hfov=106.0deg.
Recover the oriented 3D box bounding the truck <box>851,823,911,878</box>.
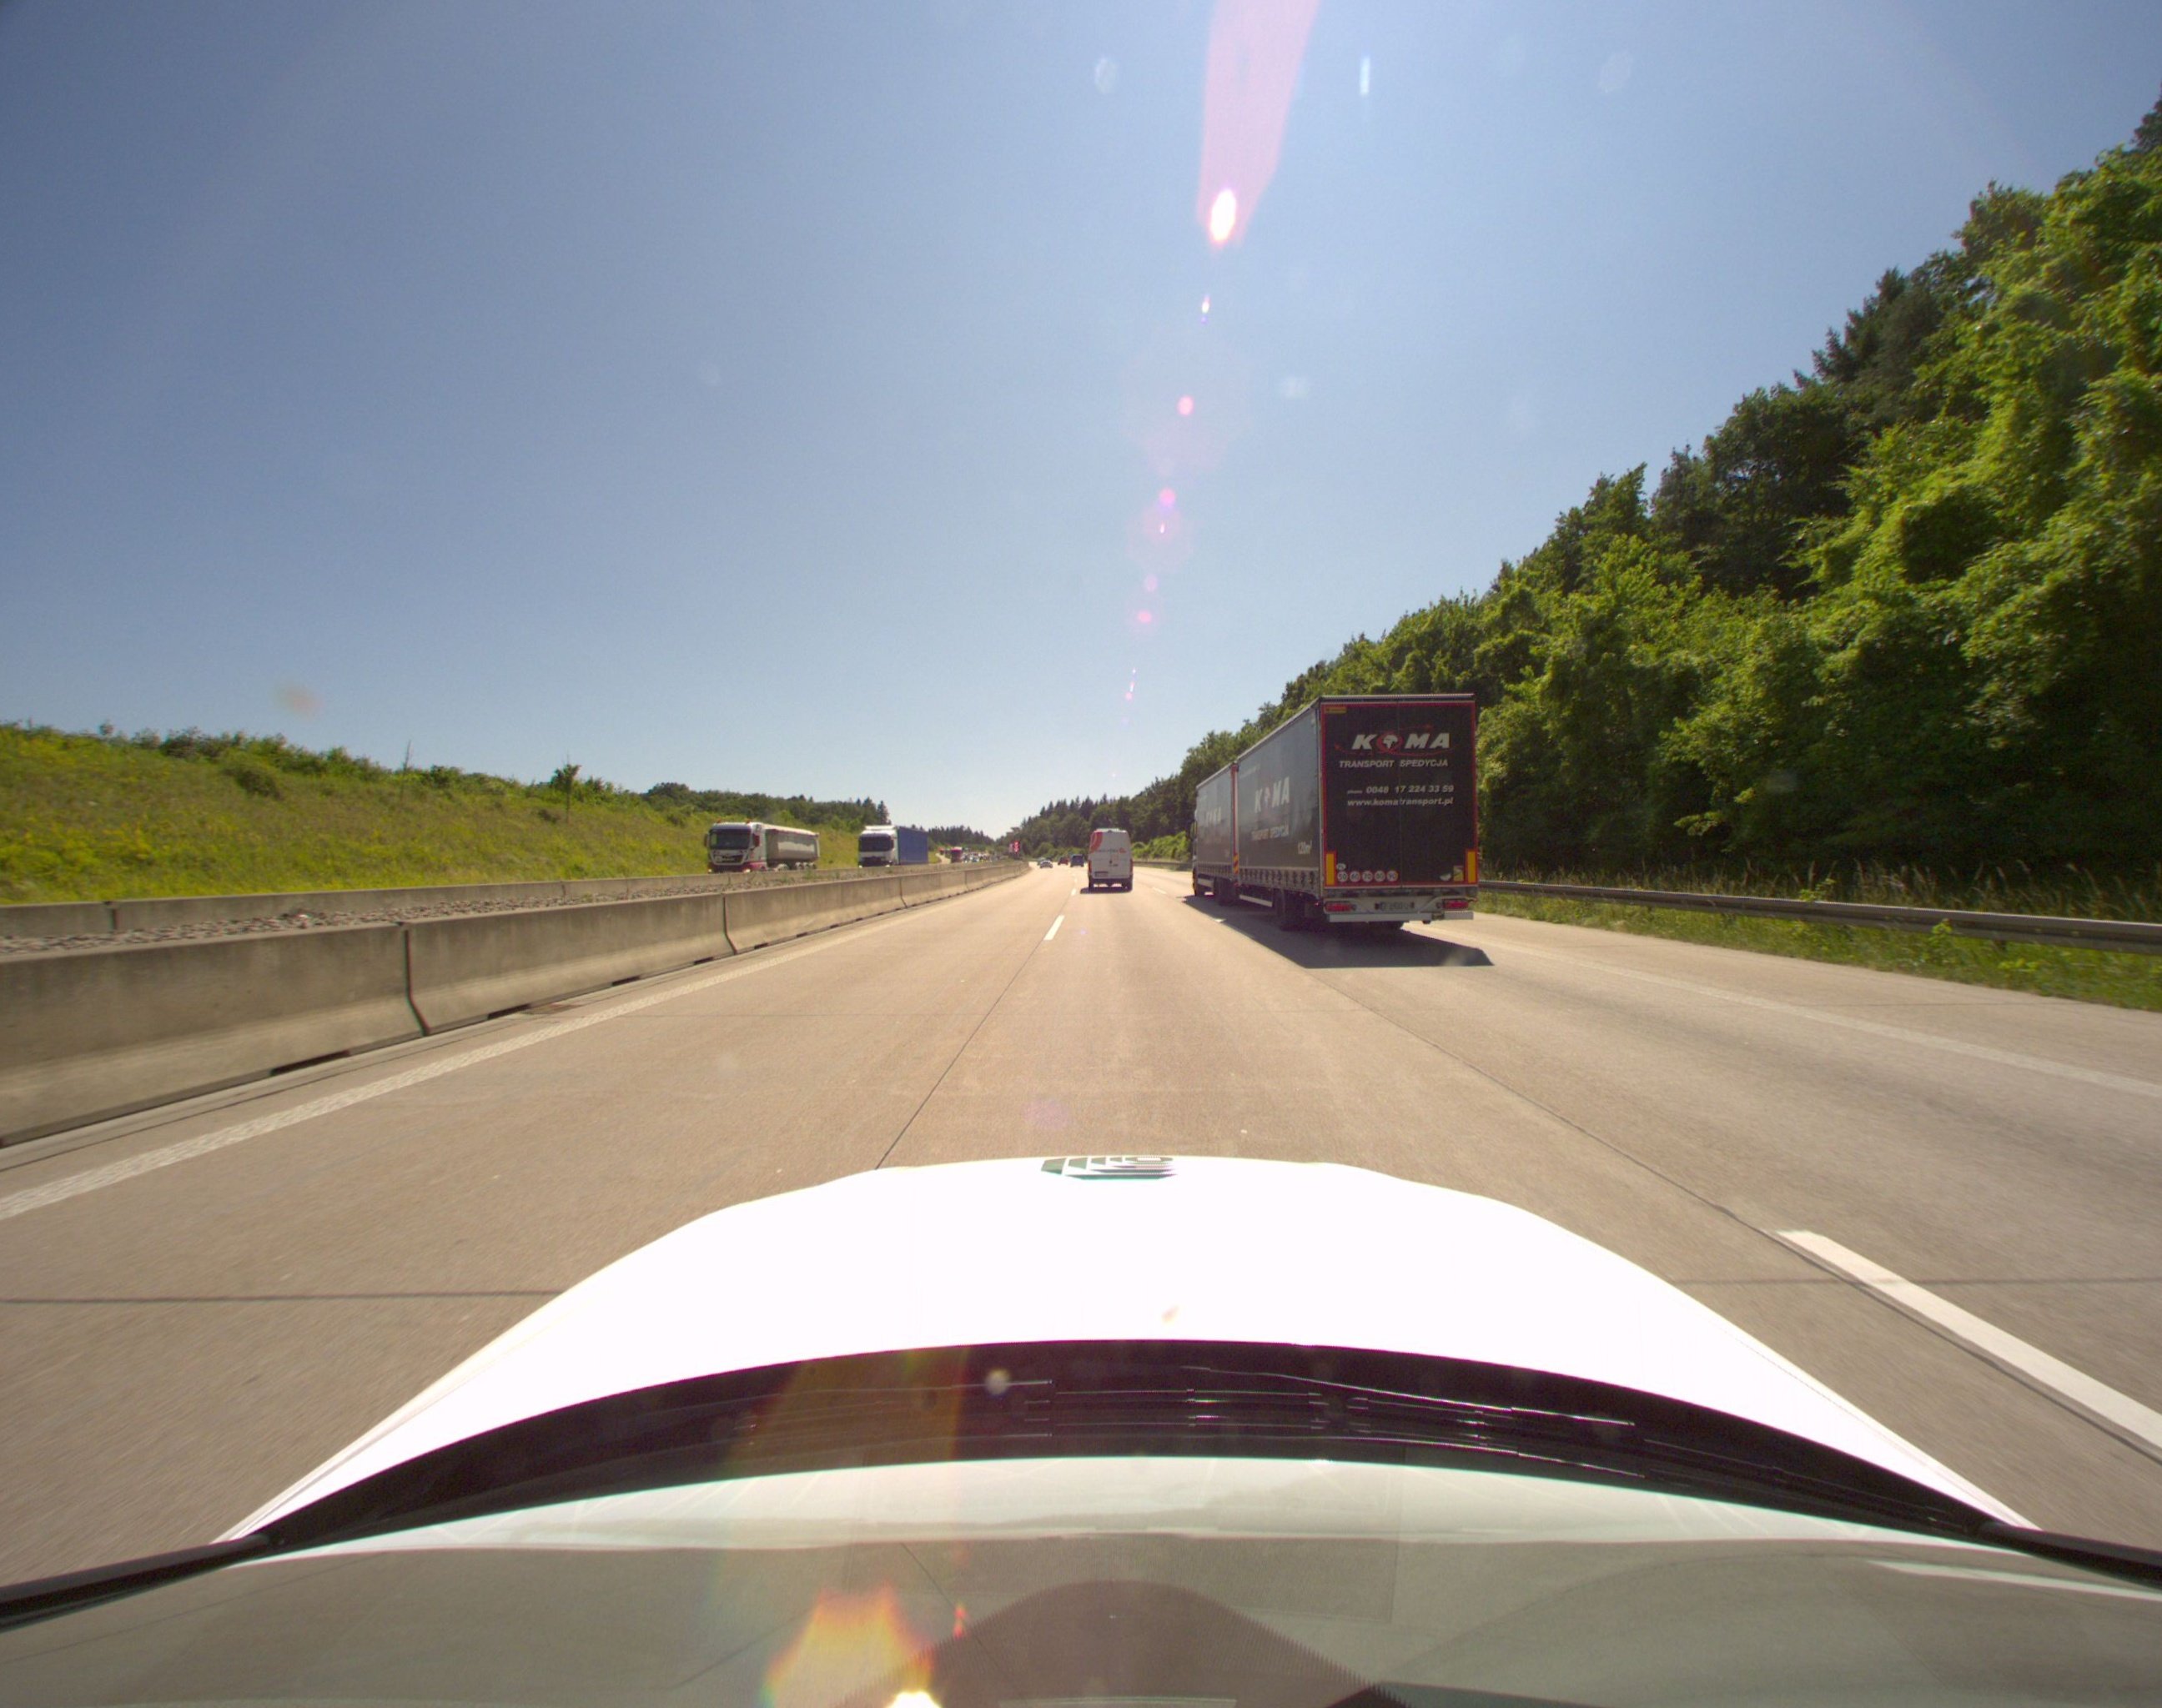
[{"bbox_3d":[-15.026,-0.208,61.617,3.153,3.932,5.832,2,-1,-2],"label":"truck"}]

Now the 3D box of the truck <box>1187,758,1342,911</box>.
[{"bbox_3d":[5.526,-0.474,26.832,3.147,4.017,10.614,0,0,3],"label":"truck"}]

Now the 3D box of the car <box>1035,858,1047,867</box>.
[{"bbox_3d":[-7.848,1.701,159.151,1.991,1.684,3.991,2,-1,-7],"label":"car"}]

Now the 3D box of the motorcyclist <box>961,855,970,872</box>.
[{"bbox_3d":[-12.875,1.014,90.691,0.816,1.873,1.491,0,-1,0],"label":"motorcyclist"}]

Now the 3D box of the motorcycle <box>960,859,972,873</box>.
[{"bbox_3d":[-12.831,1.323,90.851,1.004,1.549,2.483,0,0,0],"label":"motorcycle"}]

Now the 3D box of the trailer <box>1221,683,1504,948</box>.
[{"bbox_3d":[5.051,-0.555,16.954,3.122,4.017,9.094,0,0,3],"label":"trailer"}]

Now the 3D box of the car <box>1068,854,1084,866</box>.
[{"bbox_3d":[-0.746,0.926,123.427,1.991,1.684,3.991,2,-1,-7],"label":"car"}]

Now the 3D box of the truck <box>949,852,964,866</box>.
[{"bbox_3d":[-30.213,1.318,197.693,2.928,3.215,5.895,2,-1,-5],"label":"truck"}]

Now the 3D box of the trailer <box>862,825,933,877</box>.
[{"bbox_3d":[-15.213,-0.132,68.909,3.152,3.932,13.856,2,-1,-2],"label":"trailer"}]

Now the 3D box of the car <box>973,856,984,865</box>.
[{"bbox_3d":[-21.913,1.407,173.829,1.990,1.772,3.993,-1,0,-5],"label":"car"}]

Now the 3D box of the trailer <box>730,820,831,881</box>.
[{"bbox_3d":[-18.538,-0.124,50.987,2.715,3.413,8.956,2,-1,1],"label":"trailer"}]

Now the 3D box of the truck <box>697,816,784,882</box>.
[{"bbox_3d":[-18.678,-0.218,45.017,2.715,3.413,4.513,2,-1,1],"label":"truck"}]

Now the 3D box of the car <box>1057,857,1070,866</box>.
[{"bbox_3d":[-3.410,1.507,157.200,1.991,1.684,3.991,2,-1,-7],"label":"car"}]

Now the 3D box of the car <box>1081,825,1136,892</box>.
[{"bbox_3d":[1.169,0.182,37.315,2.220,2.844,5.451,0,0,-1],"label":"car"}]

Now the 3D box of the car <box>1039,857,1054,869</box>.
[{"bbox_3d":[-5.069,1.347,119.892,1.990,1.684,3.993,2,-1,-4],"label":"car"}]
